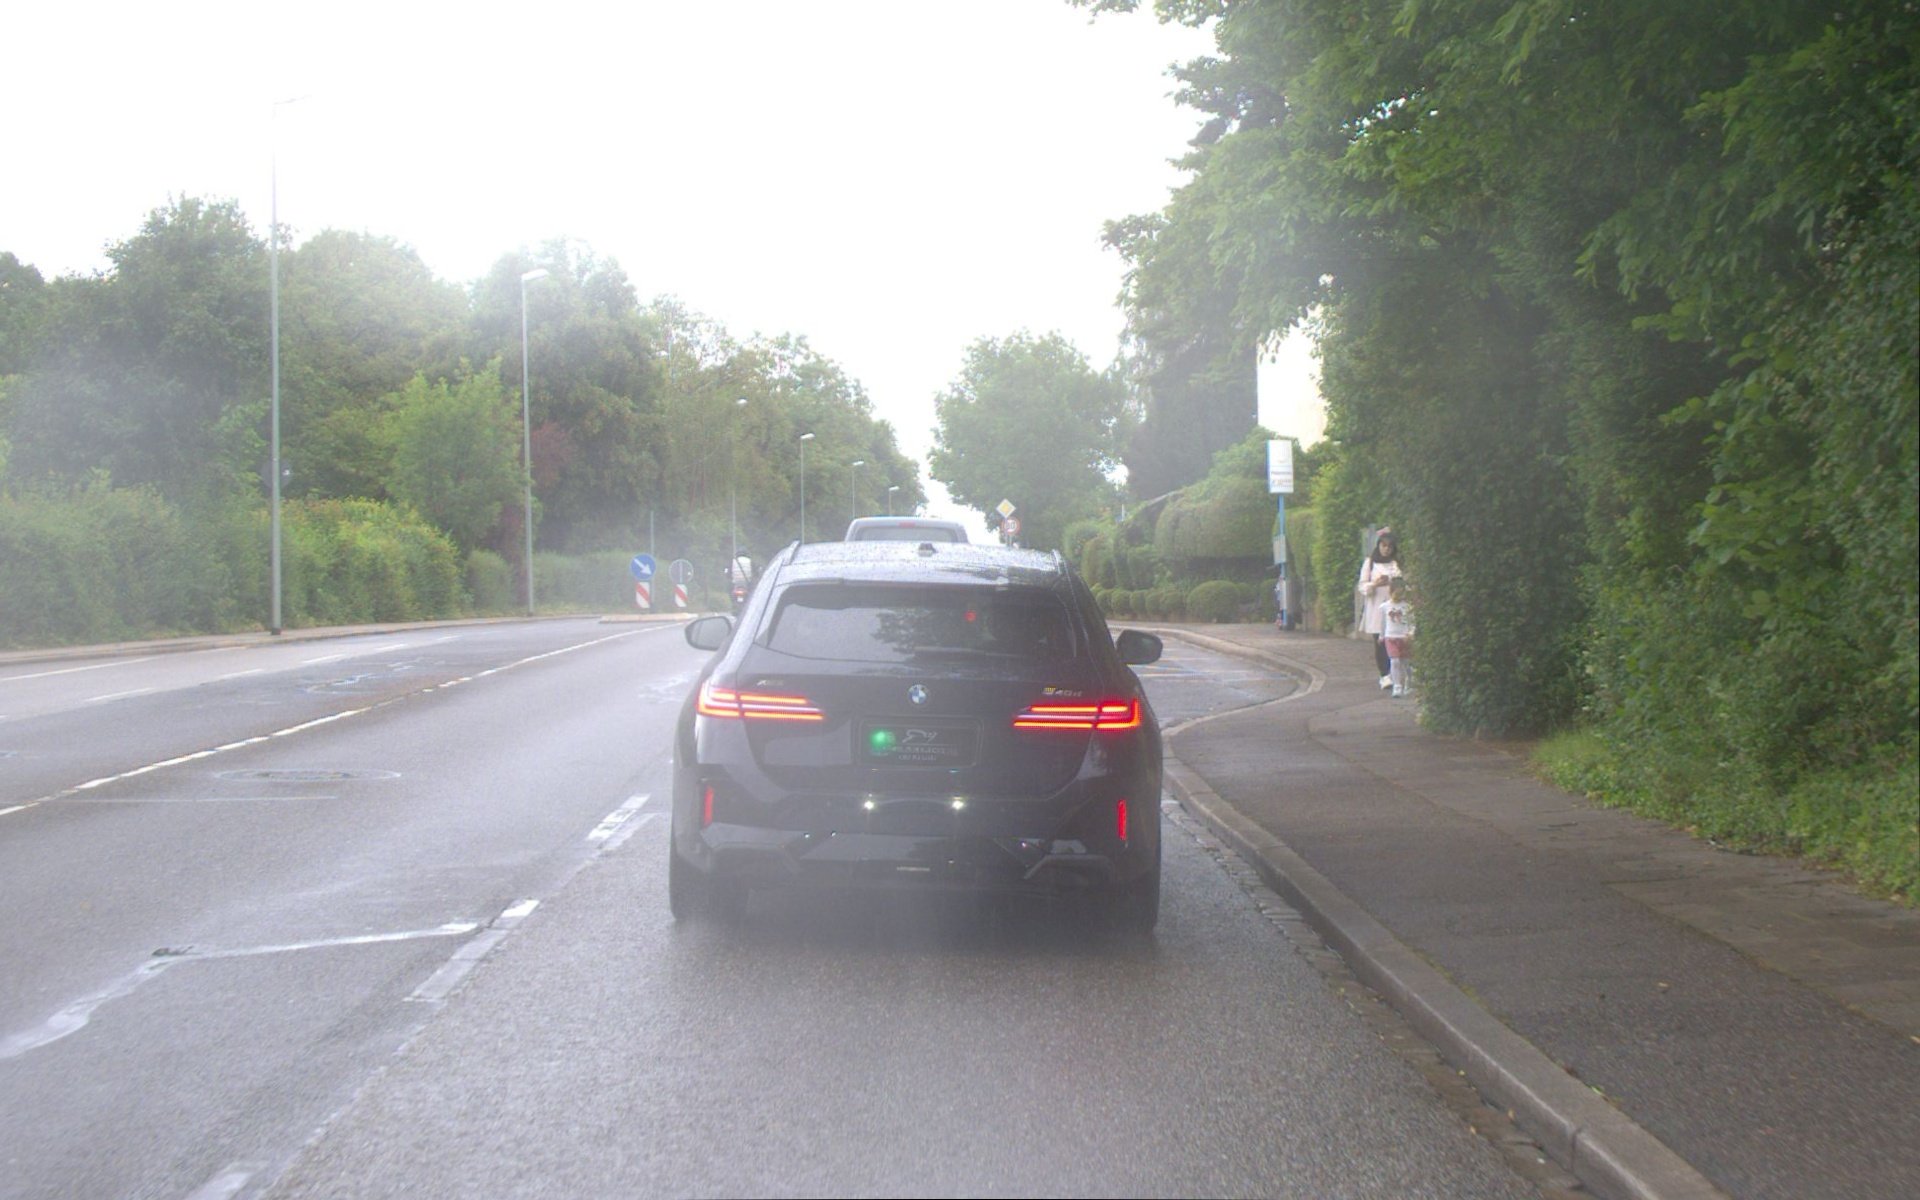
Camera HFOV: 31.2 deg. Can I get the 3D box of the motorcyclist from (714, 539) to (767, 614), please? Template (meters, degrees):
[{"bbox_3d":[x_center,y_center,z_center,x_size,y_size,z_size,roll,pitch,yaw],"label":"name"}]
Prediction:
[{"bbox_3d":[-4.700,-0.505,73.617,1.039,1.562,0.855,2,0,-1],"label":"motorcyclist"}]

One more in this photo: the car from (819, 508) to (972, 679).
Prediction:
[{"bbox_3d":[-0.720,-0.108,39.339,1.629,1.827,4.000,-1,1,-1],"label":"car"}]

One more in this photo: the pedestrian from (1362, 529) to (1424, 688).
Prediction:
[{"bbox_3d":[4.371,0.074,34.702,0.610,1.588,0.646,0,1,8],"label":"pedestrian"}]

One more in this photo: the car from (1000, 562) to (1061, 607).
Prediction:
[{"bbox_3d":[2.316,-0.516,111.915,1.935,1.437,4.408,0,1,2],"label":"car"}]

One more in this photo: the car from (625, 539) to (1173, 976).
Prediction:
[{"bbox_3d":[-0.200,0.537,14.200,1.897,1.484,4.000,2,1,0],"label":"car"}]

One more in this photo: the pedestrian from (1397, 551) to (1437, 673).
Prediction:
[{"bbox_3d":[4.320,0.114,32.485,0.367,1.142,0.366,0,1,8],"label":"pedestrian"}]

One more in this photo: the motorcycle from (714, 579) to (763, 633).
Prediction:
[{"bbox_3d":[-4.736,0.119,73.636,0.876,1.120,2.741,2,0,-1],"label":"motorcycle"}]
